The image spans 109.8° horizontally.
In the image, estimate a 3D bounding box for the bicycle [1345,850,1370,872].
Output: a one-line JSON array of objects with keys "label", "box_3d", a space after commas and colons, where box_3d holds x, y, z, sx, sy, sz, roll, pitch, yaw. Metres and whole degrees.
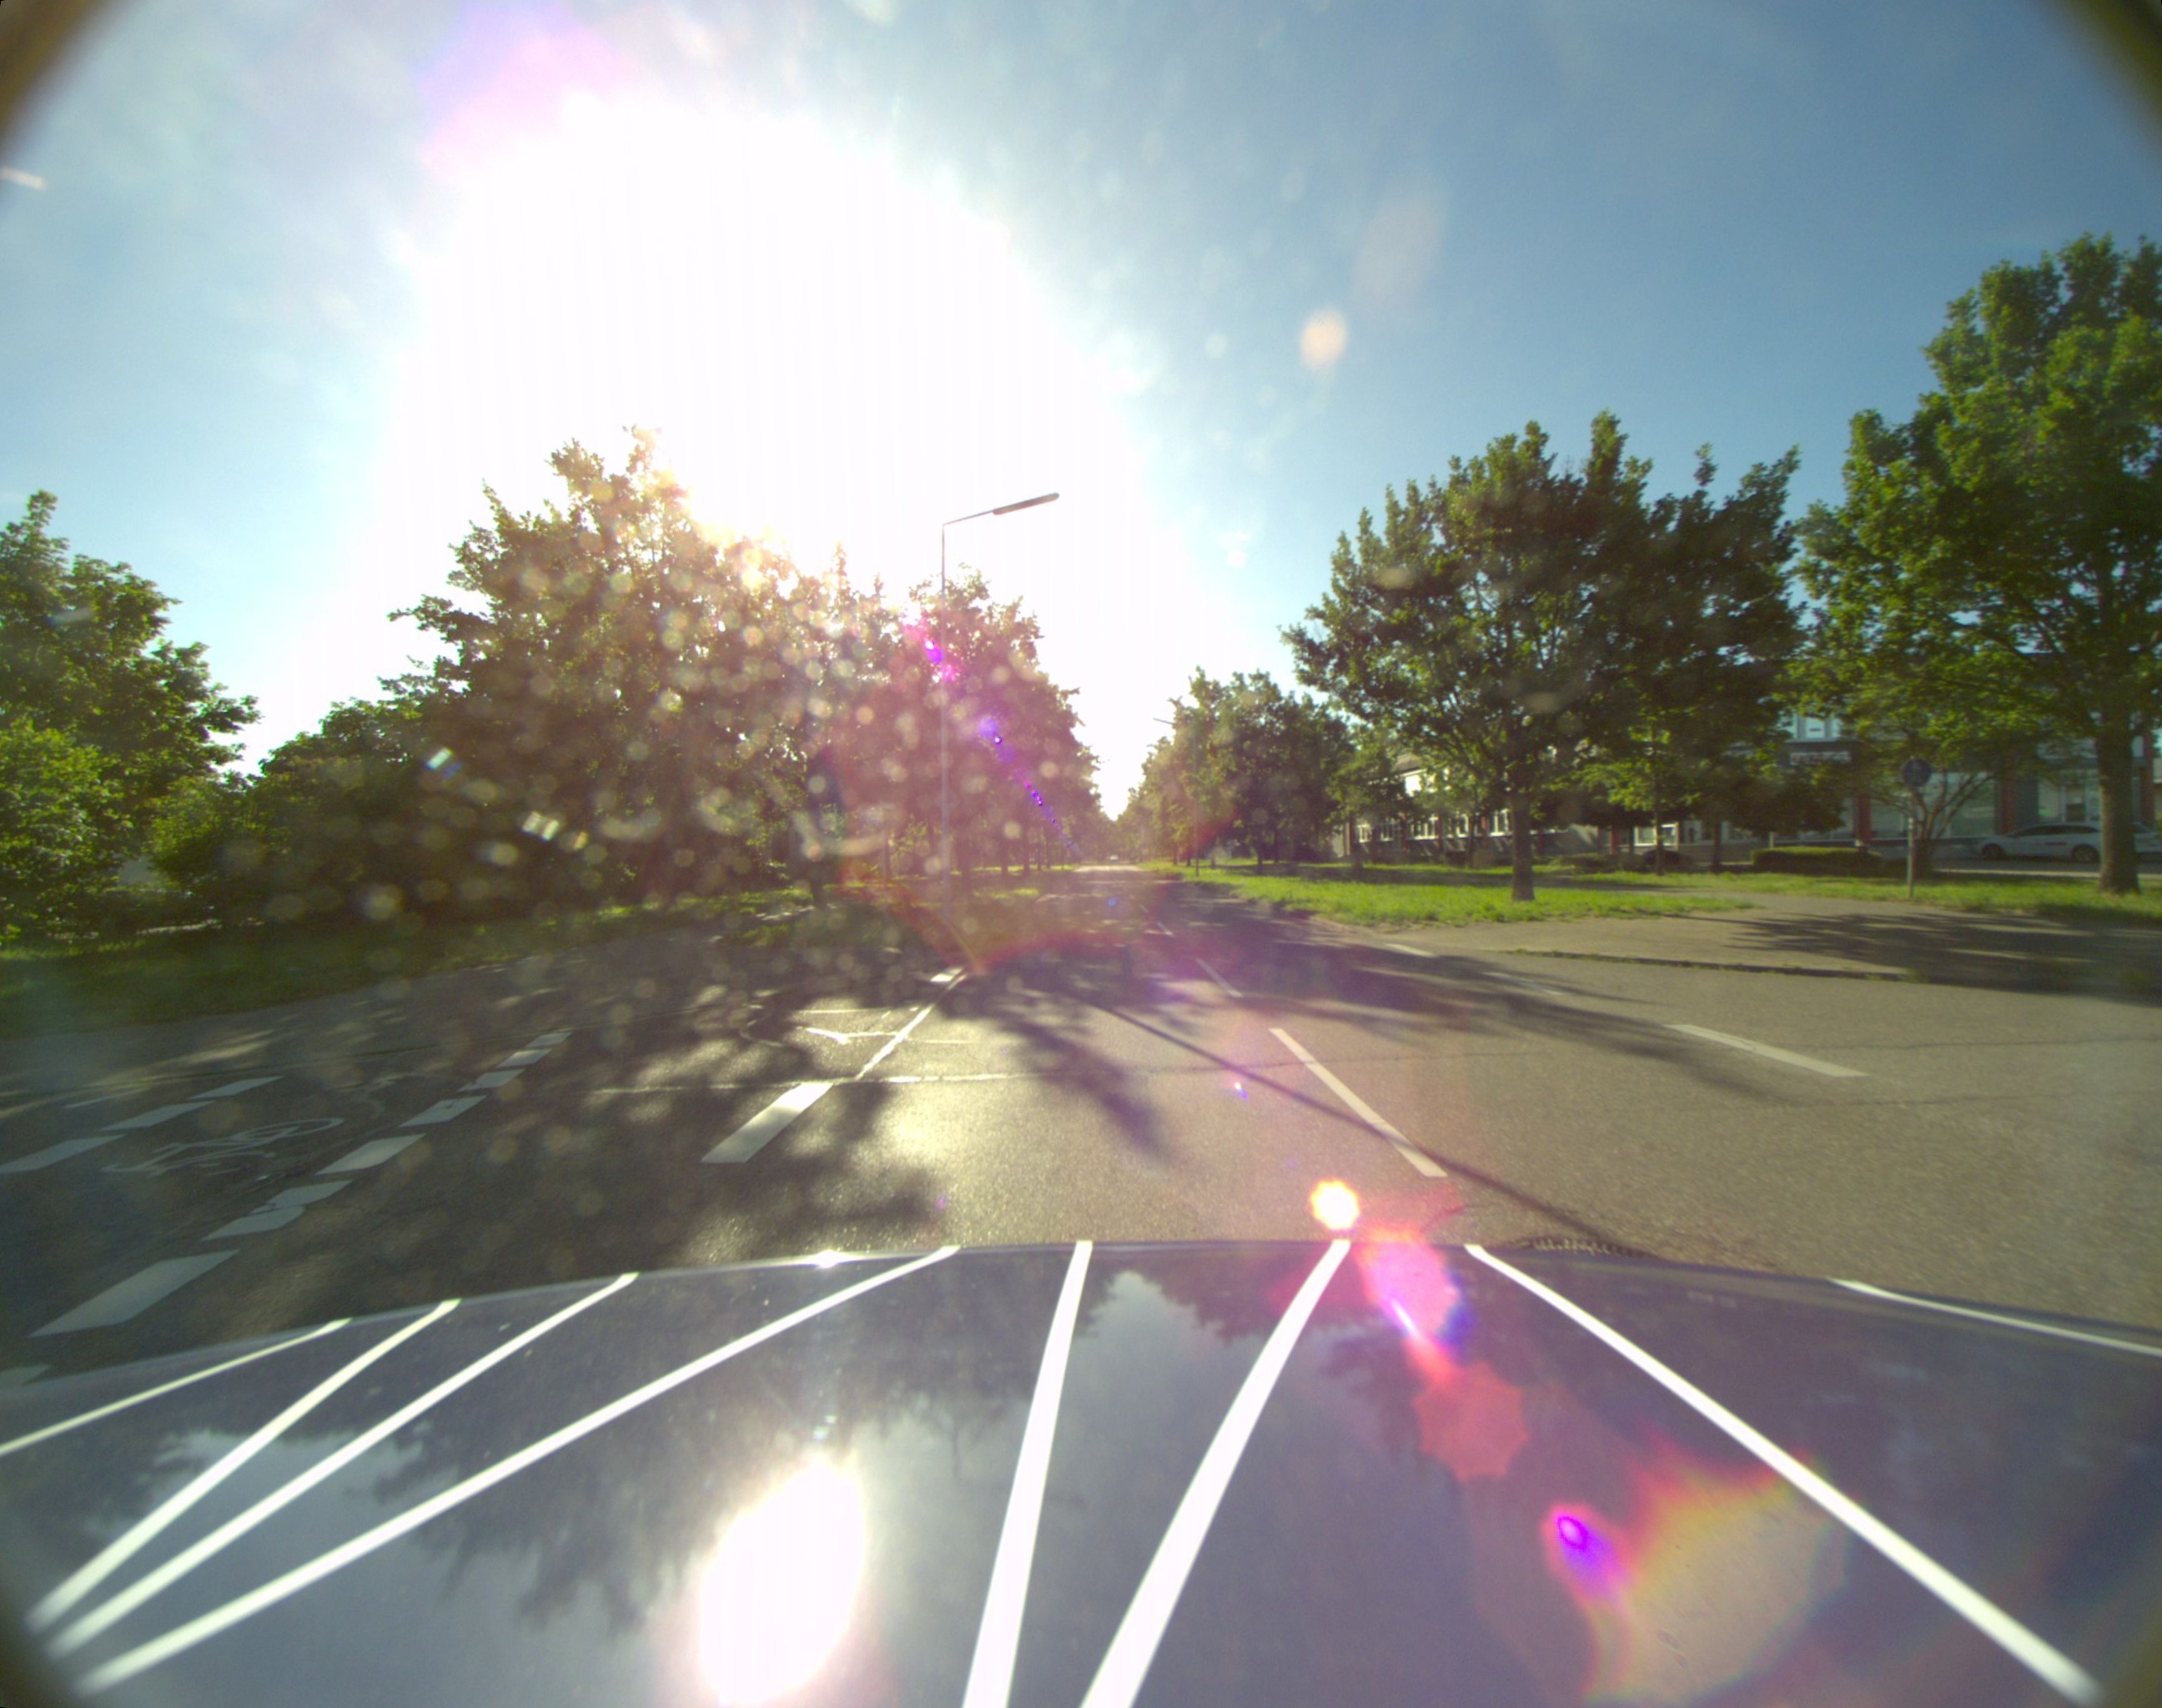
[{"label": "bicycle", "box_3d": [15.533, 0.376, 42.720, 0.552, 1.155, 2.334, -3, 1, 1]}]

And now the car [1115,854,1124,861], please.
[{"label": "car", "box_3d": [9.326, 0.829, 185.851, 1.827, 1.477, 3.999, -3, 1, -1]}]

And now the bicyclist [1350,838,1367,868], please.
[{"label": "bicyclist", "box_3d": [15.544, -0.041, 42.559, 0.665, 1.619, 0.659, -3, 1, 1]}]

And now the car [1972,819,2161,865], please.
[{"label": "car", "box_3d": [37.097, -0.492, 28.599, 1.999, 1.486, 4.296, -3, 2, -2]}]
